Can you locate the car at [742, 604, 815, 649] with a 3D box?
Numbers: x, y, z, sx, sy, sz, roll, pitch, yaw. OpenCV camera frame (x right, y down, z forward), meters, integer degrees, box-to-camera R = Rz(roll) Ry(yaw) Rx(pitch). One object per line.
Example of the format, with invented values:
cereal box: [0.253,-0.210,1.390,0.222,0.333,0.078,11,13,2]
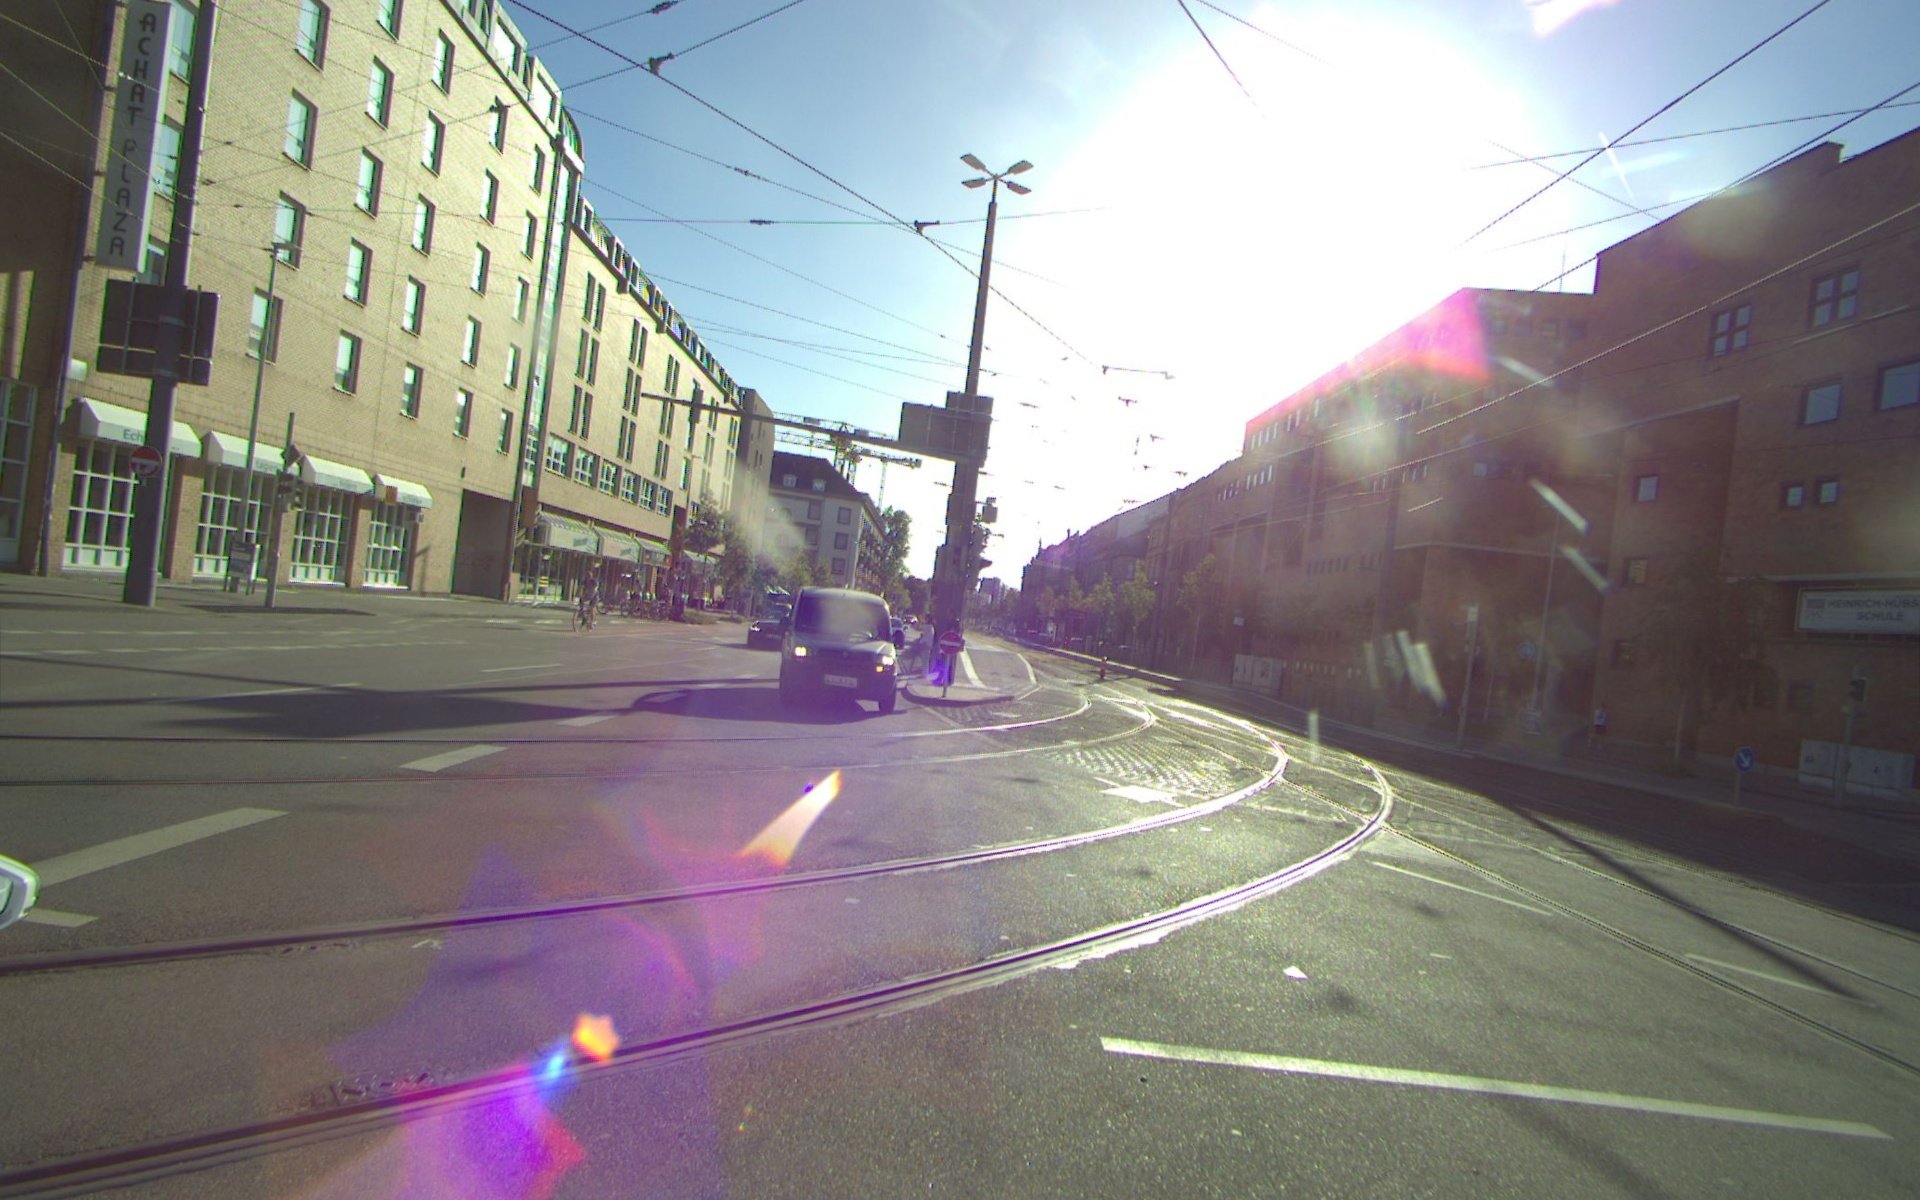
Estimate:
car: [-6.080,0.889,34.147,1.811,1.284,4.229,5,-1,-3]

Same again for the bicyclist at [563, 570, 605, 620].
bicyclist: [-11.383,-0.139,30.471,0.797,1.393,0.925,6,0,-3]

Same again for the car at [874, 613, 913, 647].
car: [-3.351,1.522,51.434,1.811,1.466,4.298,5,-1,-3]

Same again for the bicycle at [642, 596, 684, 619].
bicycle: [-15.270,0.402,51.688,2.001,0.932,0.483,6,0,9]

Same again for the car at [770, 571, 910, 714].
car: [-2.050,0.624,16.138,1.814,1.858,4.101,5,-1,-11]

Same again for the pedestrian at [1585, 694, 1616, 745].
pedestrian: [23.999,4.476,37.718,0.539,1.810,0.573,7,3,1]

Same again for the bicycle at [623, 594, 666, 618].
bicycle: [-15.825,0.306,50.473,2.001,0.932,0.483,6,0,9]

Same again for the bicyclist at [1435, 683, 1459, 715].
bicyclist: [22.535,4.587,46.554,0.636,1.355,0.653,7,0,0]

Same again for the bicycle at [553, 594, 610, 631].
bicycle: [-11.438,0.381,30.482,0.797,1.003,2.508,6,-1,-3]

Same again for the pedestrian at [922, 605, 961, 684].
pedestrian: [-0.421,1.029,23.471,0.710,1.748,0.594,7,0,0]

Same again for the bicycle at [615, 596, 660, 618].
bicycle: [-15.744,0.337,49.087,2.001,0.855,0.483,6,0,9]

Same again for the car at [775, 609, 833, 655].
car: [-6.380,1.286,41.496,1.811,1.631,4.229,5,-1,-3]

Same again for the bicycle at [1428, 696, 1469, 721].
bicycle: [22.485,4.978,46.365,0.638,0.915,2.346,7,-1,0]

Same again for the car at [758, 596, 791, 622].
car: [-14.945,0.780,81.163,1.811,1.858,4.108,5,-1,-2]

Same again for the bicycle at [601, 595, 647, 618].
bicycle: [-15.894,0.297,47.558,2.001,0.855,0.483,6,0,9]

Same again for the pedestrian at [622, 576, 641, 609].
pedestrian: [-18.835,-0.415,57.647,0.705,1.786,0.565,6,0,1]

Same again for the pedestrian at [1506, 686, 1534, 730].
pedestrian: [24.337,4.671,43.724,0.630,1.808,0.688,6,0,1]

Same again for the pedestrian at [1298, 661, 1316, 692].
pedestrian: [21.000,4.640,60.903,0.630,1.808,0.688,6,0,-1]

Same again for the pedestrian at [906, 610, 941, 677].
pedestrian: [-0.918,1.082,25.279,0.573,1.596,0.645,7,0,-15]
